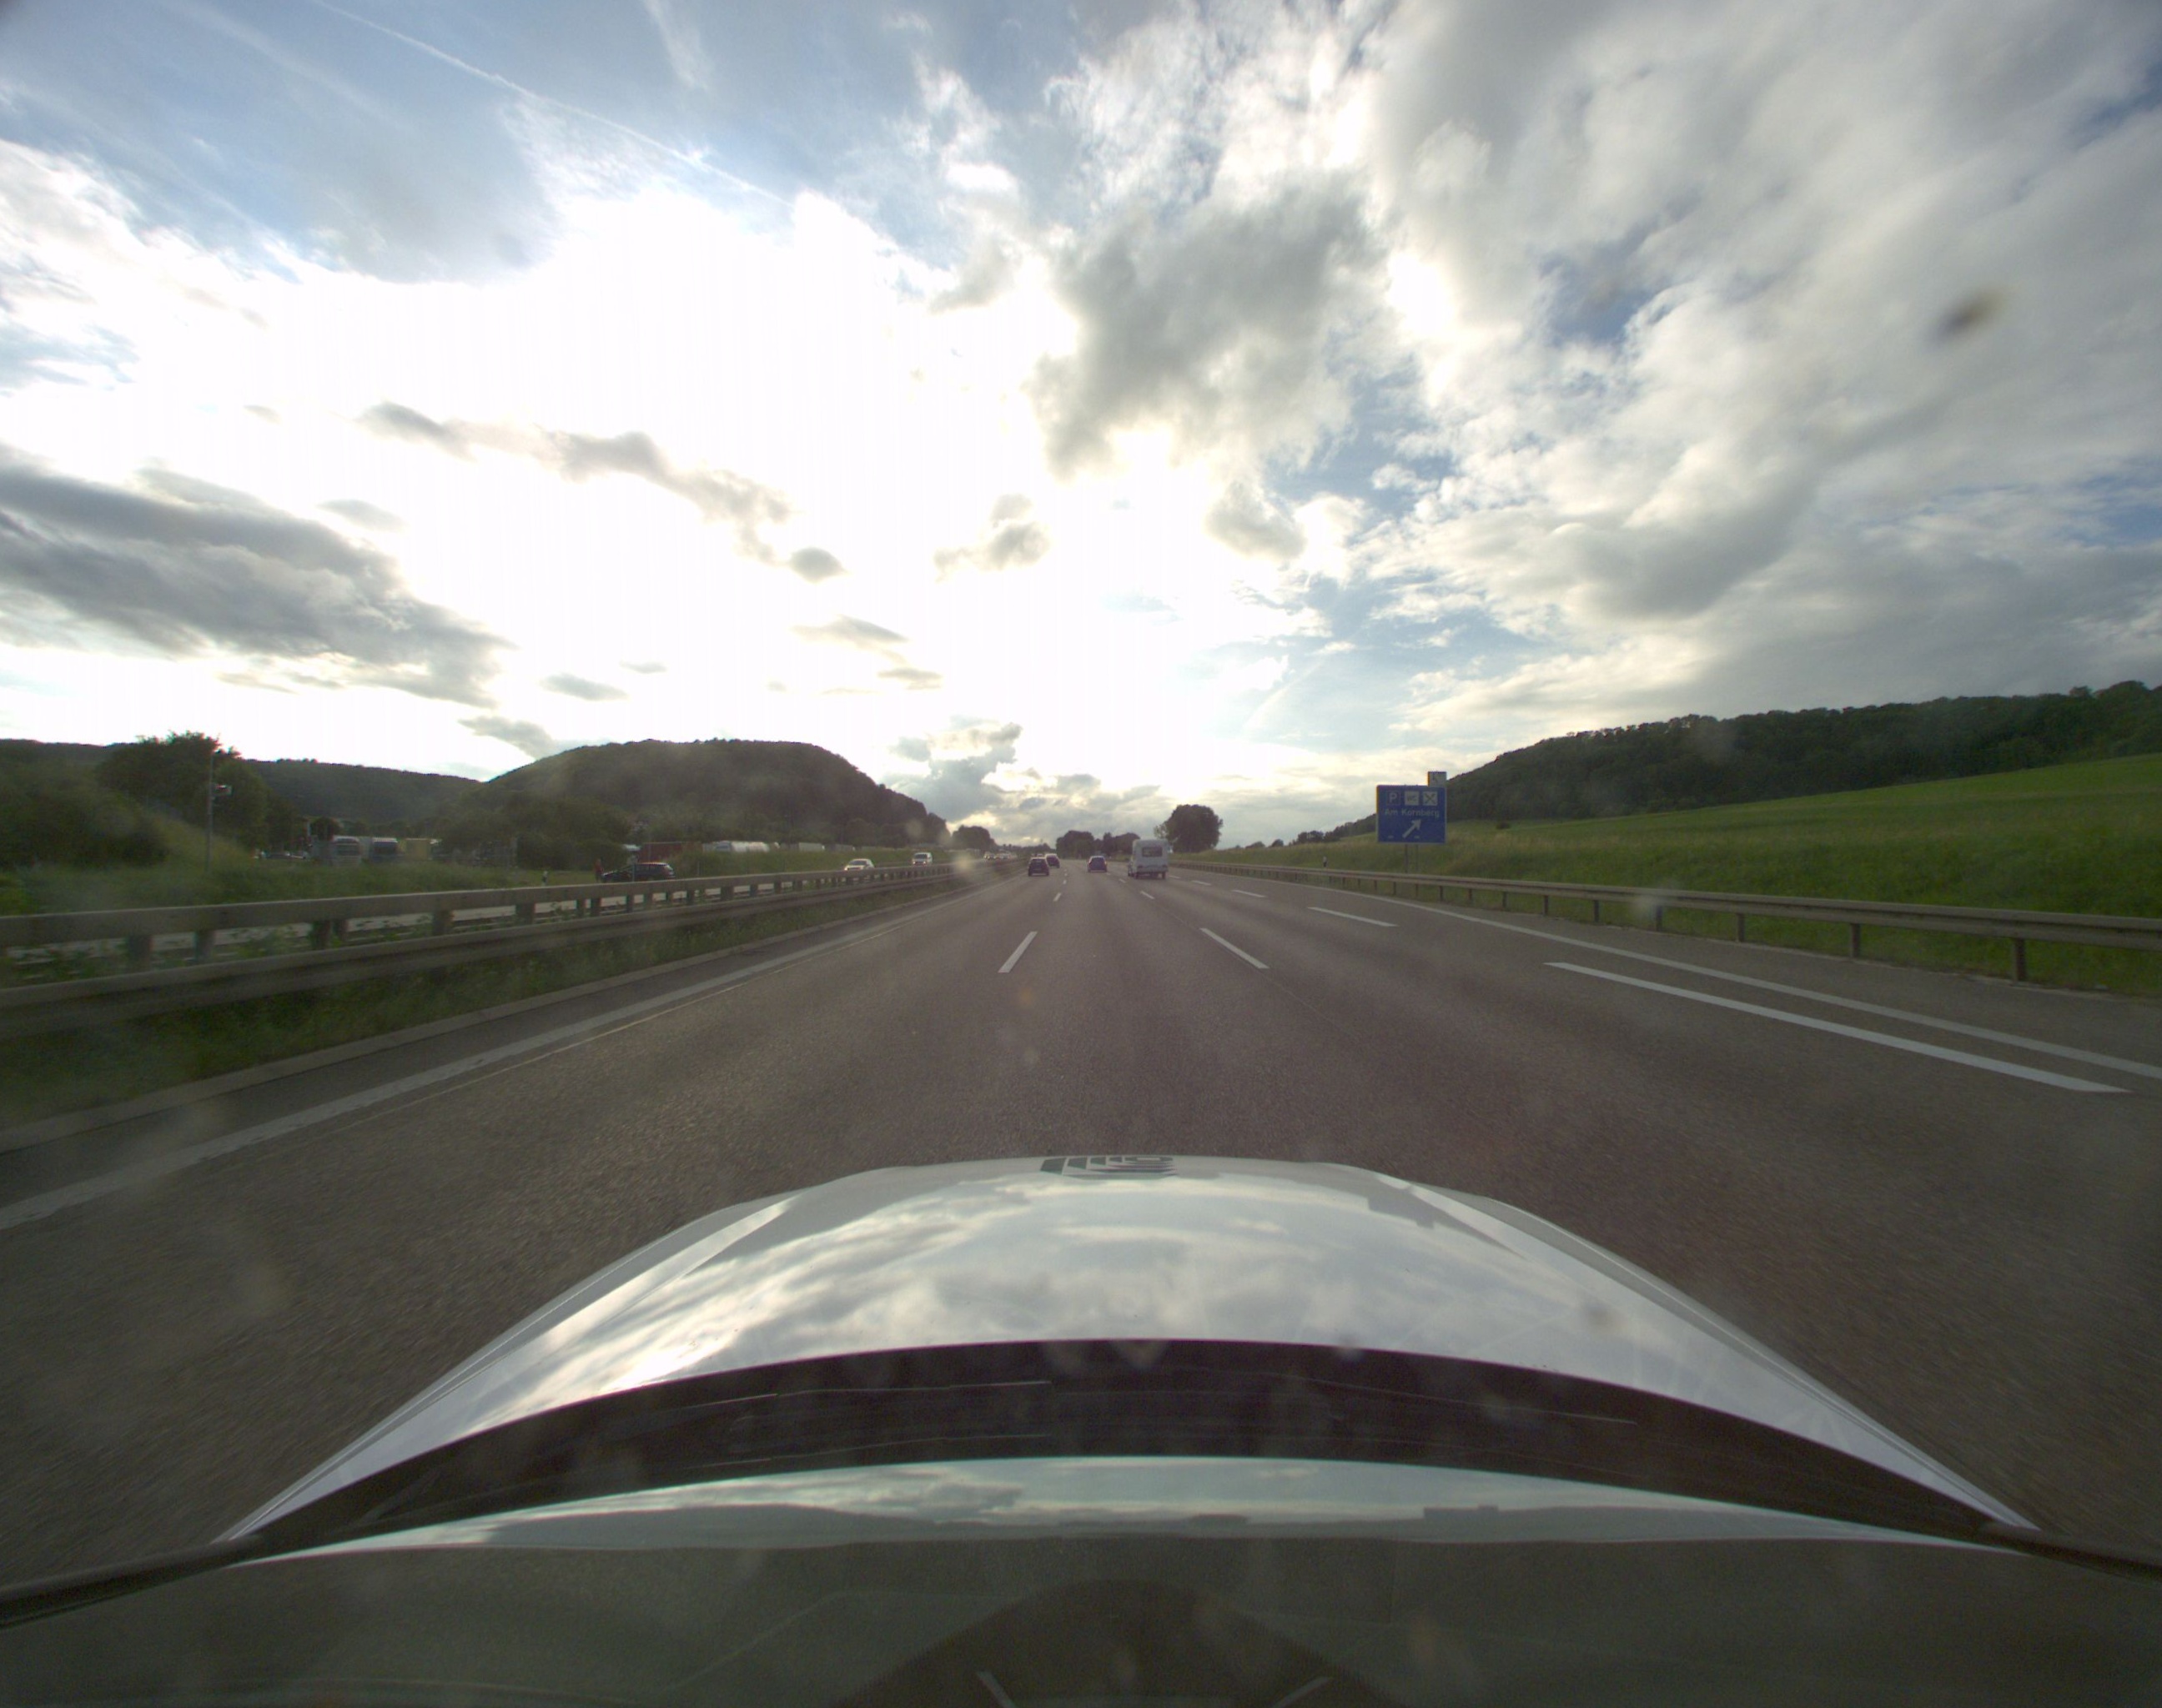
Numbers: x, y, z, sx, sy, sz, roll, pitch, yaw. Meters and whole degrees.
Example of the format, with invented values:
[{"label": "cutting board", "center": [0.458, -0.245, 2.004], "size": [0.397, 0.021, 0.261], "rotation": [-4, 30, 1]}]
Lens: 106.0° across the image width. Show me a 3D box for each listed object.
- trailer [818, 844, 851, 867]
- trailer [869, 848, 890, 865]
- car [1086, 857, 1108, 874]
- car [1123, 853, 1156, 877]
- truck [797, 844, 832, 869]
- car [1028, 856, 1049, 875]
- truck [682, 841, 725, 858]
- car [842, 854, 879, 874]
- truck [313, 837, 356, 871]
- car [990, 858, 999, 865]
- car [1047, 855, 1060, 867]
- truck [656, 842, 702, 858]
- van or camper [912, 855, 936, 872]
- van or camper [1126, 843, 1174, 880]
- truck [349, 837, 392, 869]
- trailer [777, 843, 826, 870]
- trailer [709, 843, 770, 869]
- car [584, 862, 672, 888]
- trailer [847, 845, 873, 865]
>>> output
[{"label": "trailer", "center": [-43.089, 0.366, 142.798], "size": [2.874, 3.696, 13.645], "rotation": [-2, -1, -6]}, {"label": "trailer", "center": [-45.983, 0.484, 186.218], "size": [2.871, 3.696, 10.359], "rotation": [-2, 0, -4]}, {"label": "car", "center": [1.447, 1.041, 74.375], "size": [1.763, 1.433, 3.996], "rotation": [-2, -1, -3]}, {"label": "car", "center": [4.246, 0.765, 59.560], "size": [1.783, 1.652, 4.475], "rotation": [0, 0, -4]}, {"label": "truck", "center": [-41.303, 0.453, 126.397], "size": [2.874, 3.691, 8.485], "rotation": [-2, -1, -2]}, {"label": "car", "center": [-3.396, 0.932, 65.449], "size": [1.534, 1.347, 3.675], "rotation": [0, 2, -2]}, {"label": "truck", "center": [-54.333, -0.615, 117.157], "size": [7.215, 2.226, 2.918], "rotation": [-1, -1, 40]}, {"label": "car", "center": [-18.201, 0.823, 67.351], "size": [1.989, 1.497, 4.686], "rotation": [-1, 0, -4]}, {"label": "truck", "center": [-91.380, 0.100, 99.611], "size": [11.234, 3.857, 2.603], "rotation": [-2, -2, 41]}, {"label": "car", "center": [-20.791, 1.782, 195.916], "size": [1.802, 1.614, 4.337], "rotation": [0, -1, -2]}, {"label": "car", "center": [-3.291, 0.844, 99.095], "size": [1.561, 1.380, 3.997], "rotation": [-1, 0, -2]}, {"label": "truck", "center": [-54.919, -0.513, 111.152], "size": [7.214, 2.014, 2.918], "rotation": [-2, -2, 40]}, {"label": "van or camper", "center": [-18.684, 1.086, 97.019], "size": [1.910, 1.873, 4.752], "rotation": [-1, 0, -1]}, {"label": "van or camper", "center": [4.563, 0.590, 54.632], "size": [2.541, 2.240, 5.323], "rotation": [0, -3, -2]}, {"label": "truck", "center": [-90.266, -0.028, 103.416], "size": [11.234, 3.857, 2.603], "rotation": [-2, -2, 41]}, {"label": "trailer", "center": [-41.063, 0.421, 120.323], "size": [2.870, 3.696, 13.664], "rotation": [-1, 0, -2]}, {"label": "trailer", "center": [-40.075, 0.318, 96.033], "size": [2.573, 2.854, 12.247], "rotation": [0, -1, -3]}, {"label": "car", "center": [-29.857, 1.384, 53.757], "size": [4.601, 1.551, 1.994], "rotation": [-1, 0, -8]}, {"label": "trailer", "center": [-44.451, 0.218, 163.962], "size": [2.871, 3.696, 10.359], "rotation": [-2, 0, -4]}]
